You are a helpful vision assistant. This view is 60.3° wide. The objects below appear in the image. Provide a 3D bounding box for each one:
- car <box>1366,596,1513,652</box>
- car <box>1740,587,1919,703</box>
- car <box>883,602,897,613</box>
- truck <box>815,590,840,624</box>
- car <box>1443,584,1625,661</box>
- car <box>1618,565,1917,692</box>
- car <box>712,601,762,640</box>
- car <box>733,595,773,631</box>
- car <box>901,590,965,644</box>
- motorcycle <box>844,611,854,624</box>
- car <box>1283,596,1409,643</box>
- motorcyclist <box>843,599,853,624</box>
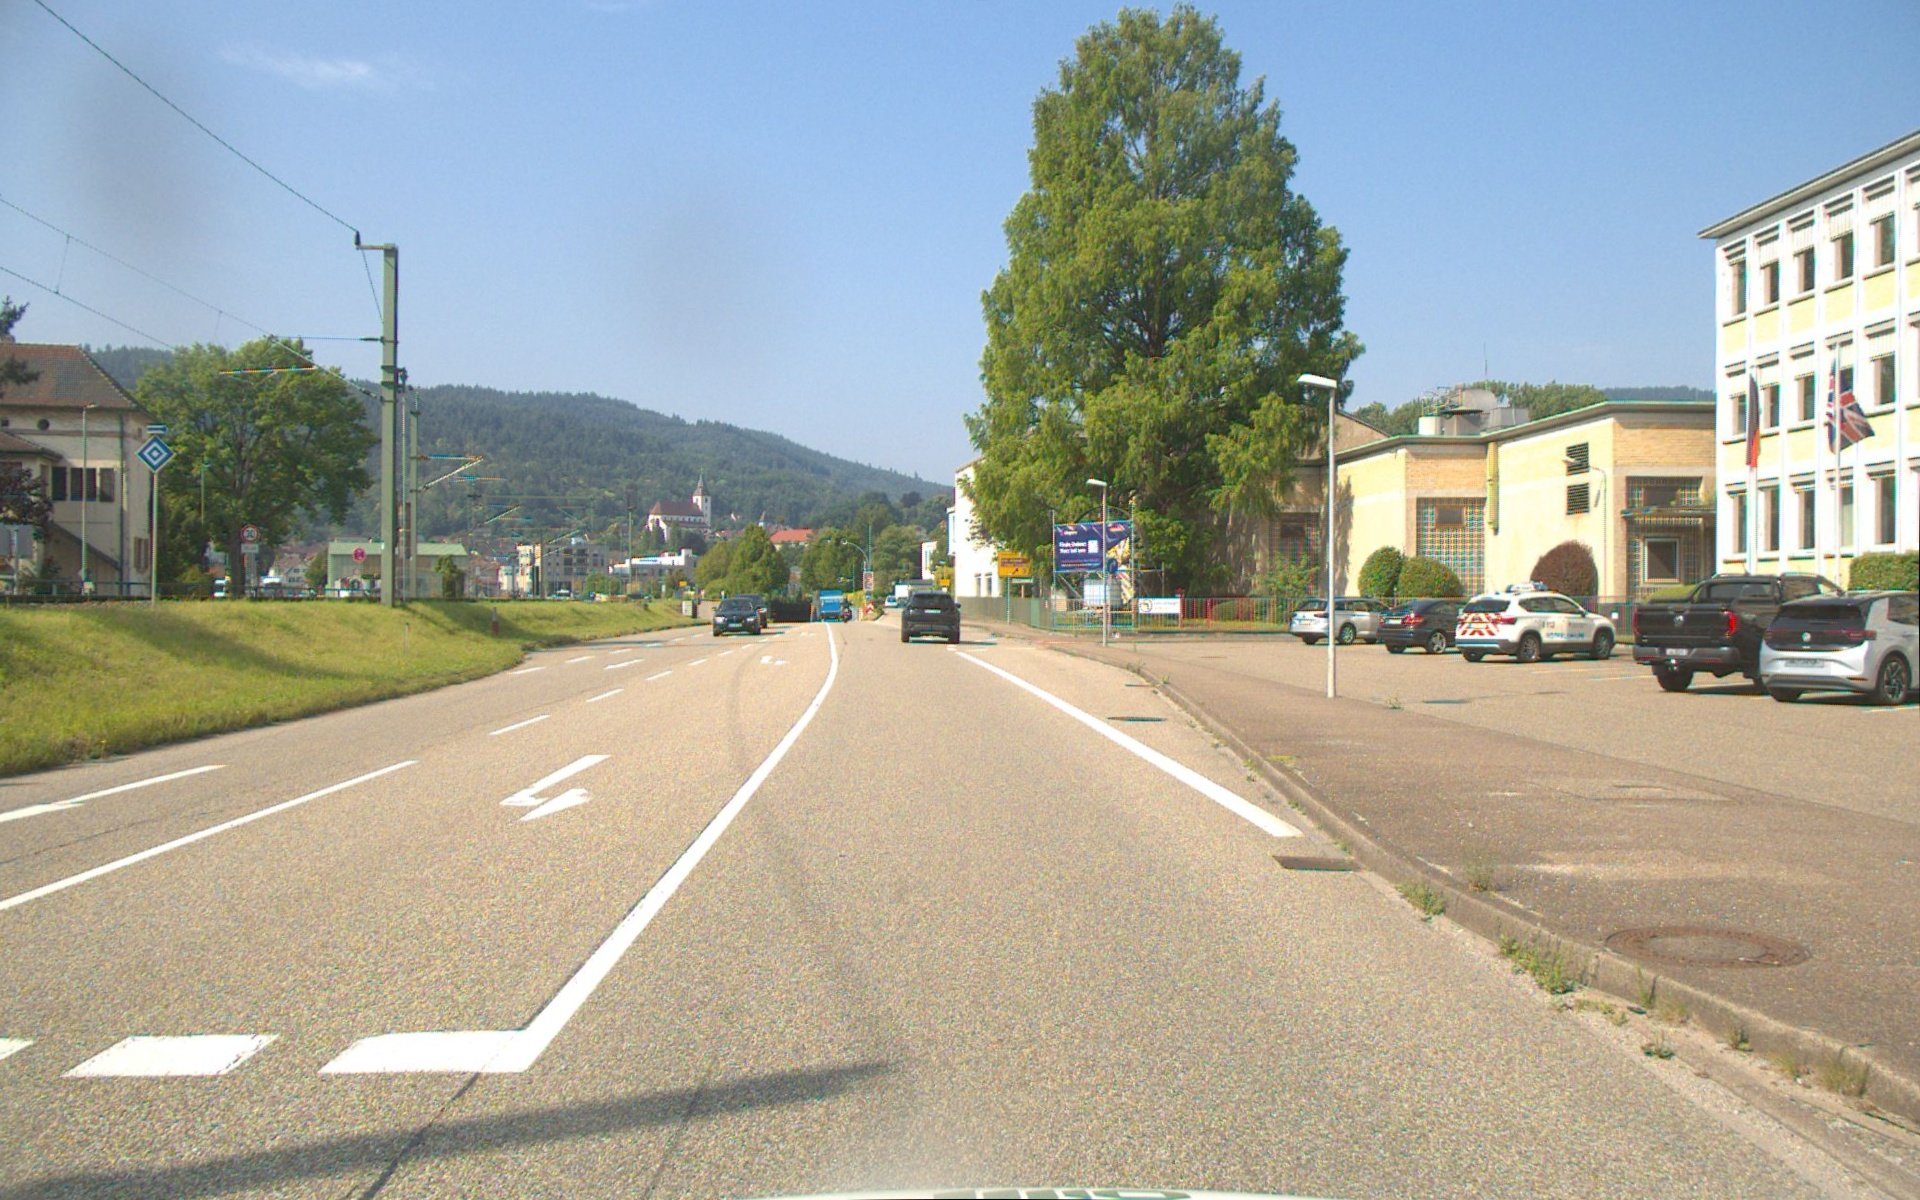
[{"bbox_3d":[12.794,0.613,44.073,3.951,1.425,1.645,0,0,-34],"label":"car"},{"bbox_3d":[13.277,0.585,23.805,3.947,1.531,1.866,0,0,-31],"label":"car"},{"bbox_3d":[-9.335,0.991,219.858,1.731,1.512,3.999,1,-1,-1],"label":"car"},{"bbox_3d":[-12.042,0.644,150.148,2.267,3.022,5.960,0,0,-5],"label":"truck"},{"bbox_3d":[13.349,0.493,38.418,4.119,1.701,1.849,0,0,-32],"label":"car"},{"bbox_3d":[12.976,0.406,26.496,4.969,1.864,1.962,0,0,-31],"label":"car"},{"bbox_3d":[-8.673,0.765,64.523,1.721,1.454,3.996,0,0,-5],"label":"car"},{"bbox_3d":[-9.796,0.595,78.532,1.721,1.668,3.996,0,0,-5],"label":"car"},{"bbox_3d":[-0.907,0.531,53.578,1.881,1.668,3.997,0,0,-4],"label":"car"},{"bbox_3d":[-6.662,1.059,99.153,0.594,0.766,1.414,0,0,-3],"label":"motorcycle"},{"bbox_3d":[12.190,0.591,52.217,3.951,1.425,1.645,0,0,-34],"label":"car"},{"bbox_3d":[-6.695,0.687,99.157,0.594,1.547,0.863,0,0,-3],"label":"motorcyclist"}]
